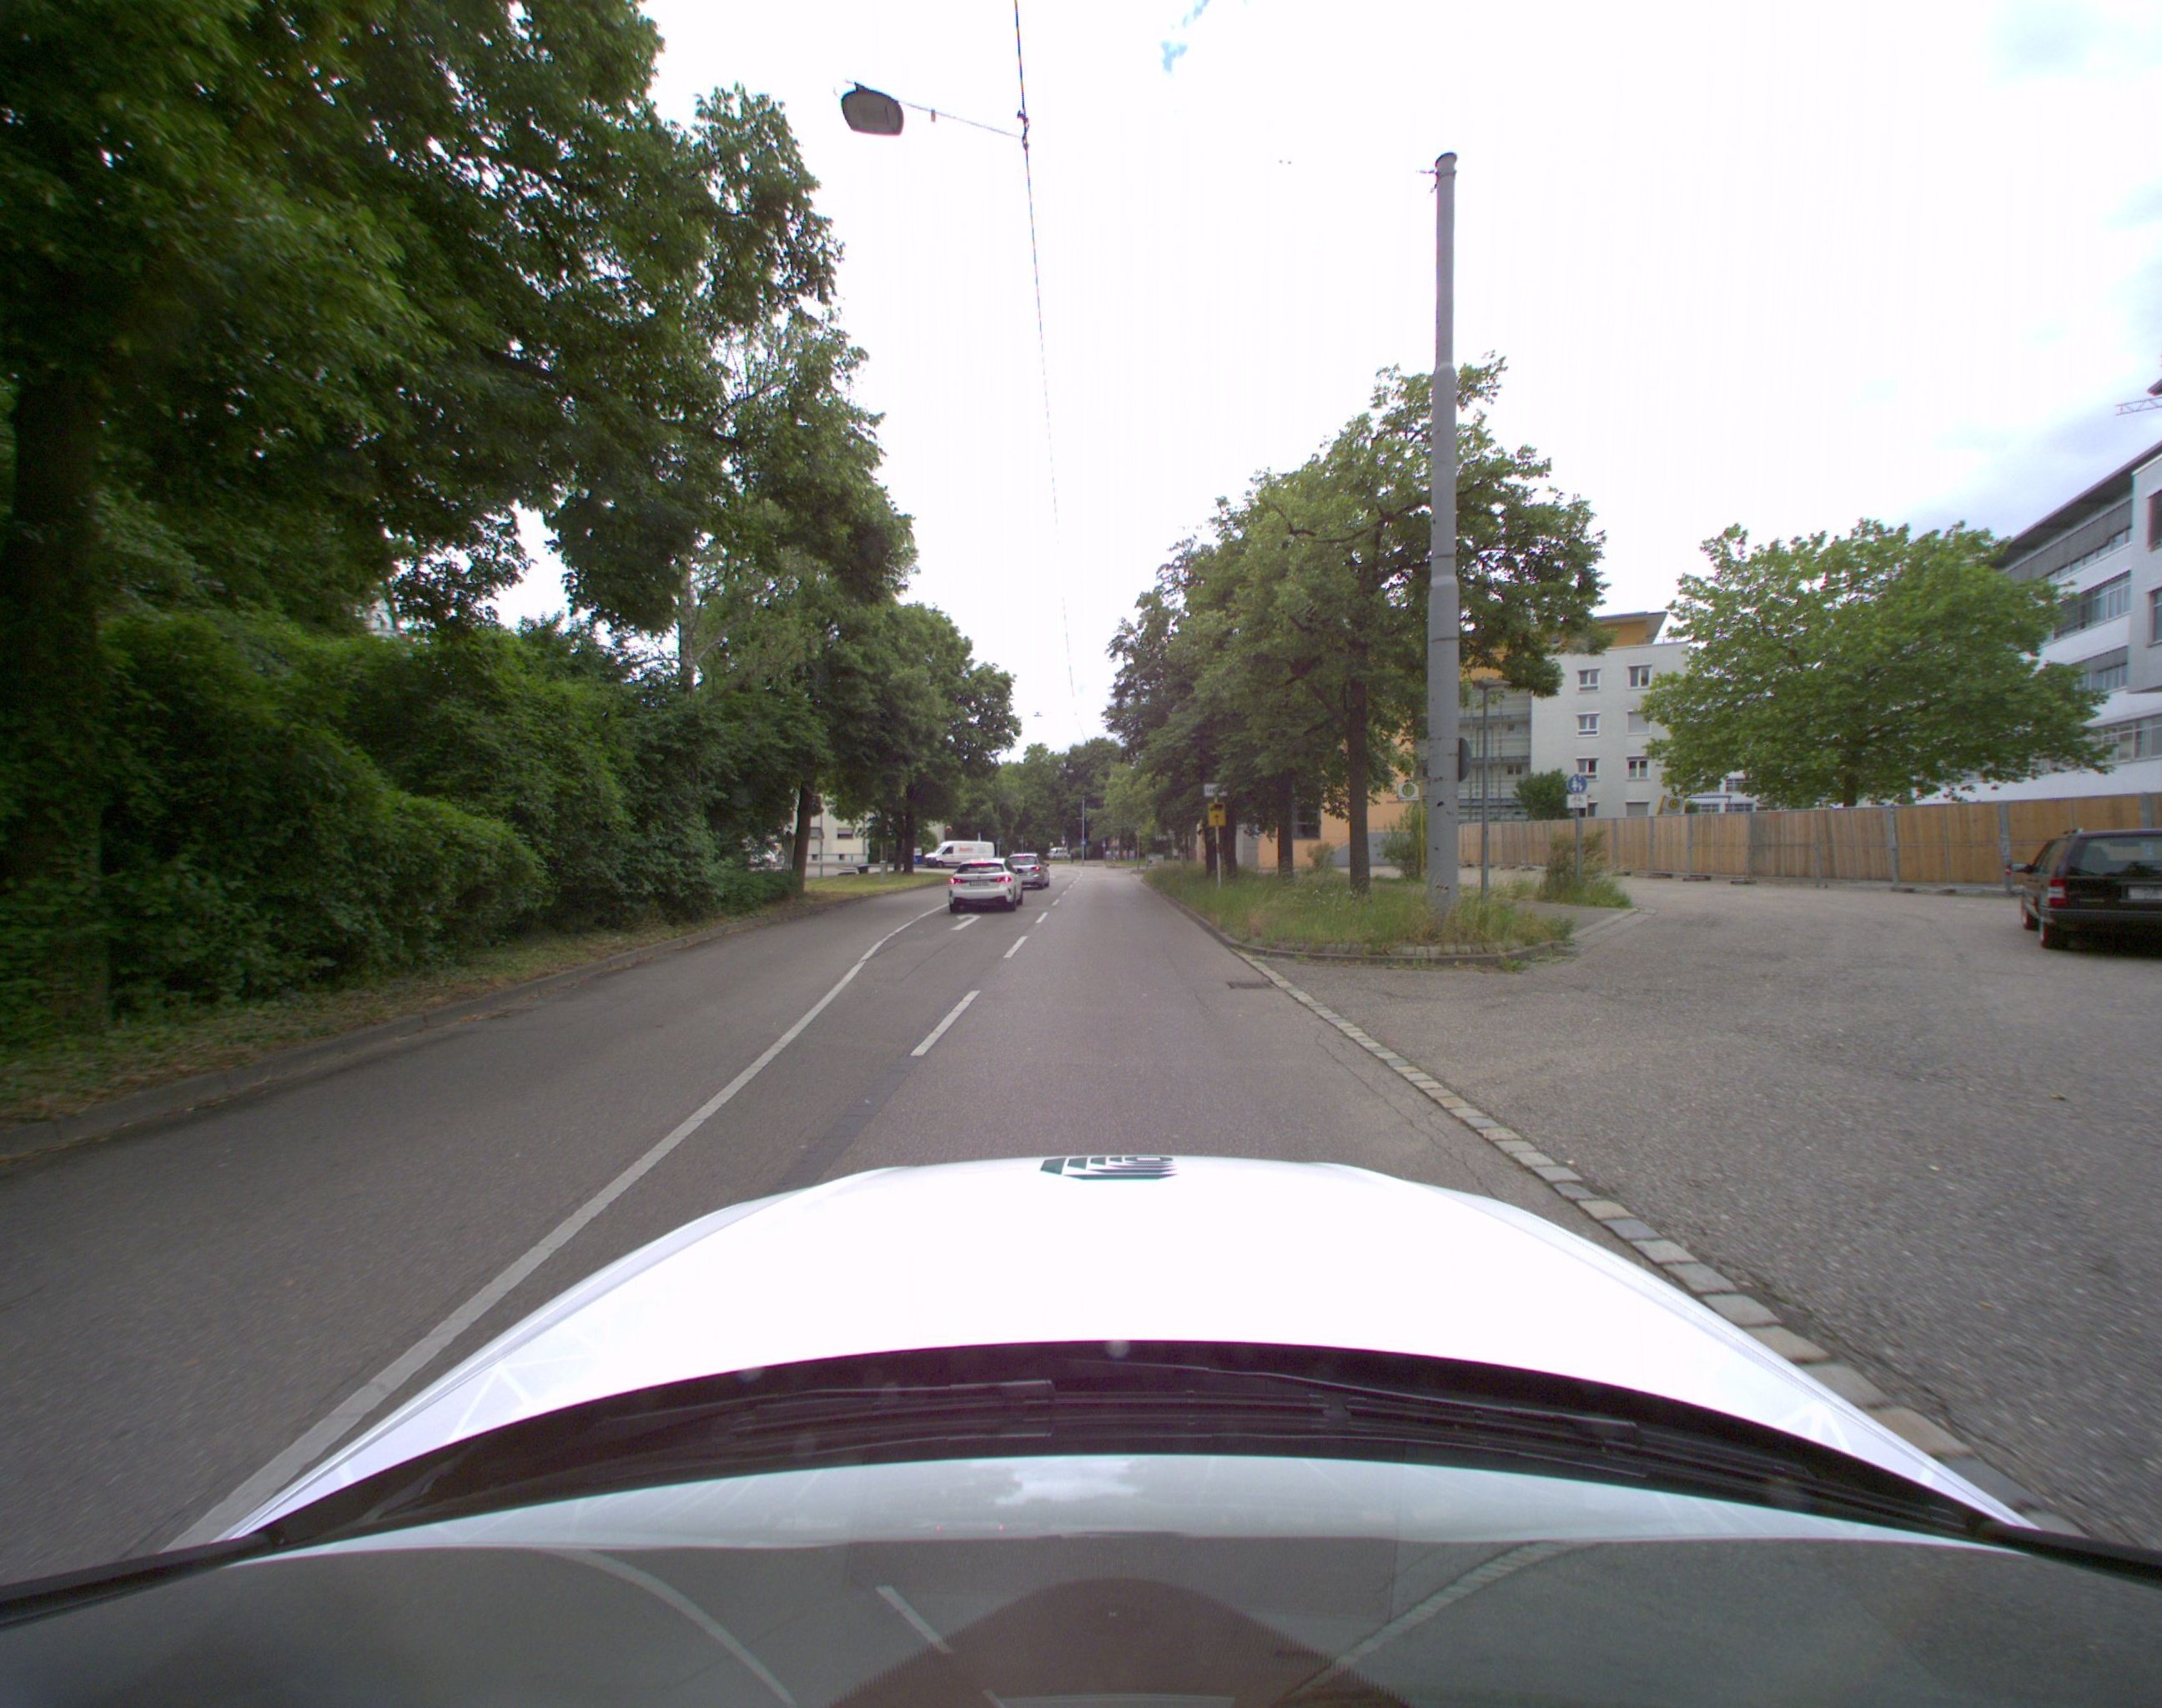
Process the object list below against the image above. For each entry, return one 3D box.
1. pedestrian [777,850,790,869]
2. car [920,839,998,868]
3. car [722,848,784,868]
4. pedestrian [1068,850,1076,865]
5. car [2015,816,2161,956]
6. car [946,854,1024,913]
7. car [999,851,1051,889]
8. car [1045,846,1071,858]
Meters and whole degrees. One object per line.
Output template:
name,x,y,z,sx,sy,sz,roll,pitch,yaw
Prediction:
pedestrian,-24.792,0.493,67.922,0.753,1.534,0.708,2,1,-38
car,-11.312,-0.001,75.981,7.011,2.521,2.062,1,2,-36
car,-26.694,0.303,66.394,4.337,1.440,1.702,2,1,-38
pedestrian,-1.154,0.464,108.659,0.921,1.871,1.018,-4,3,-3
car,13.506,0.300,10.420,4.769,1.516,1.848,-2,0,-43
car,-2.668,0.785,23.526,1.791,1.517,4.205,-1,0,-1
car,-2.427,0.685,36.231,1.915,1.574,4.002,0,0,2
car,-4.679,-0.458,167.633,2.111,2.297,5.419,3,1,40
